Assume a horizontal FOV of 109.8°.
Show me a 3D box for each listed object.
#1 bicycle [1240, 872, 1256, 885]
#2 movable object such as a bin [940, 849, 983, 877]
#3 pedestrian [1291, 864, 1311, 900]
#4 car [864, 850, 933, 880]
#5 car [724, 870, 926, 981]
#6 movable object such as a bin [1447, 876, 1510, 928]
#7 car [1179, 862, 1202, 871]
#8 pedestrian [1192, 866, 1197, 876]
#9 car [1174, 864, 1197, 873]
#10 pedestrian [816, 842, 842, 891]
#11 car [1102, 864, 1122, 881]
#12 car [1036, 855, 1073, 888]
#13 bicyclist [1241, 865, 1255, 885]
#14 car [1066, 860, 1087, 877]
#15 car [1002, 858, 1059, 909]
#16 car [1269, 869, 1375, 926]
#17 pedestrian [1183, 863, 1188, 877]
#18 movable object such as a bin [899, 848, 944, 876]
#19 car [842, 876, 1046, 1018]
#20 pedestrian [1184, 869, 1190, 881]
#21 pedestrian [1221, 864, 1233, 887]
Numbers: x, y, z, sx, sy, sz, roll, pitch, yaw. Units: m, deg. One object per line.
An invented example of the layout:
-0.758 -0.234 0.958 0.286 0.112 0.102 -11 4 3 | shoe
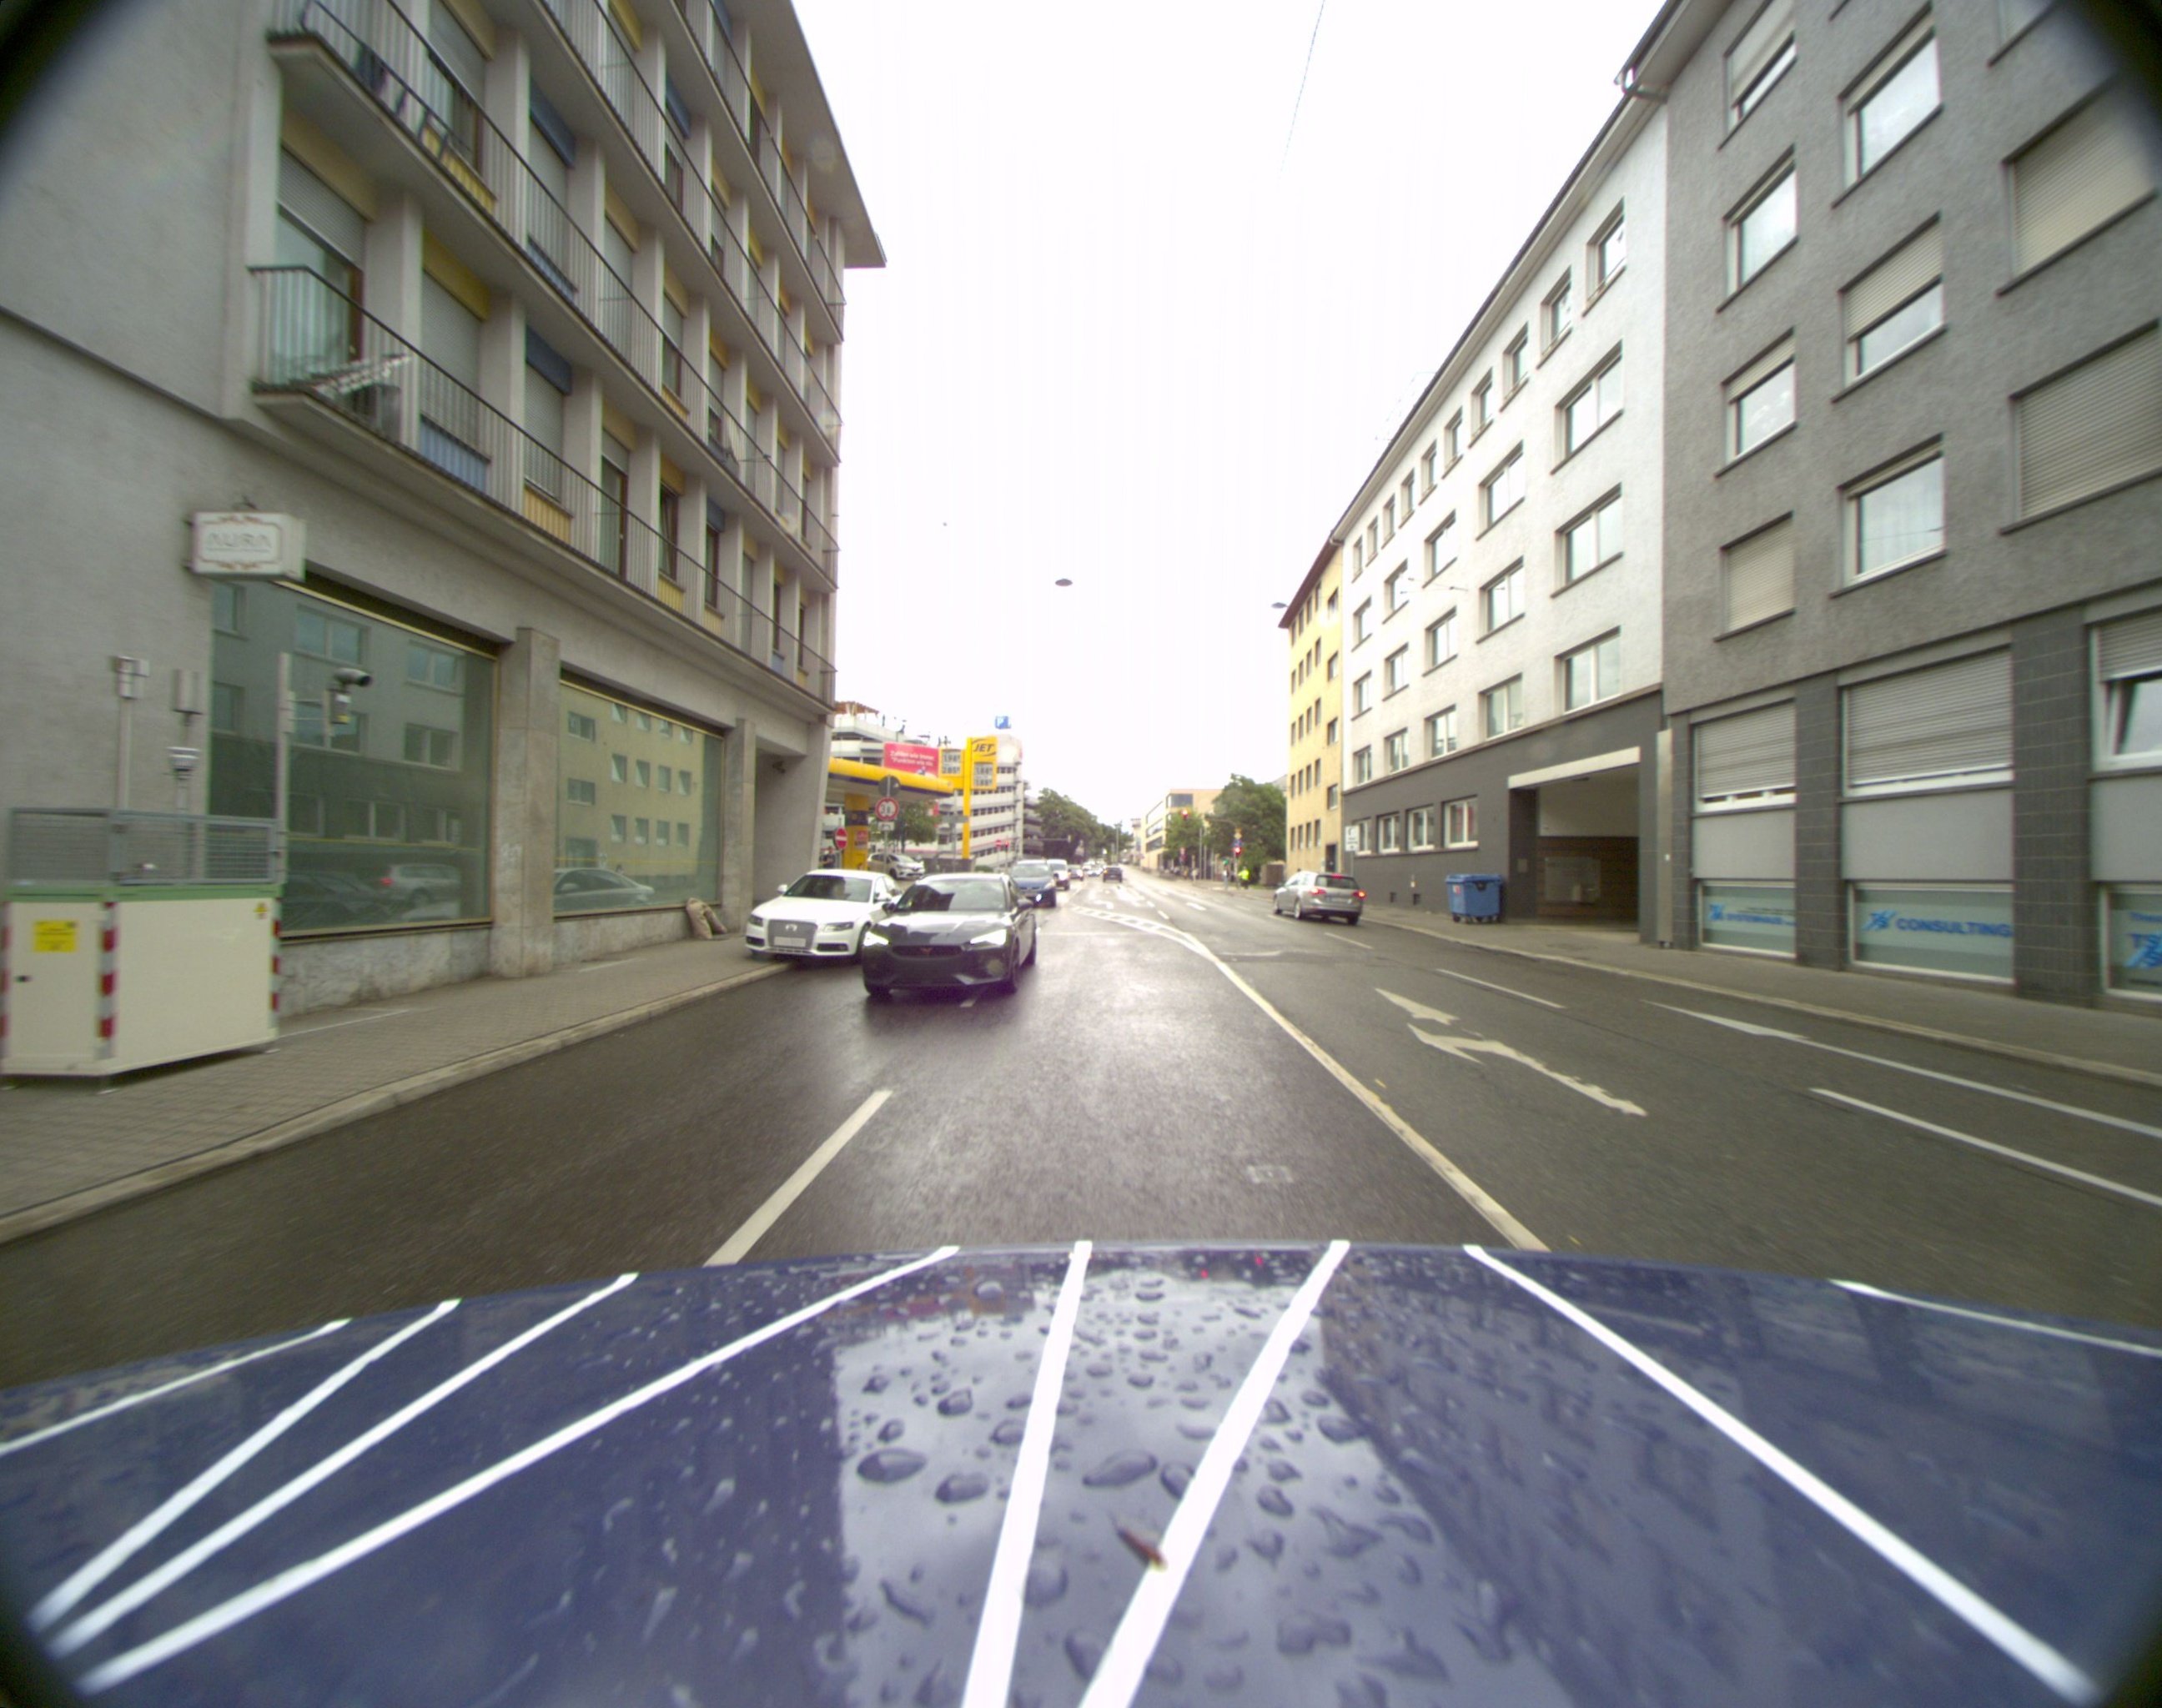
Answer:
12.152 1.797 55.240 0.887 0.902 1.867 -1 0 4 | bicycle
-7.032 0.542 44.869 2.160 1.565 1.773 1 0 3 | movable object such as a bin
10.426 1.300 36.036 0.719 1.679 0.811 -1 0 4 | pedestrian
-9.860 0.572 40.952 1.750 1.433 3.987 2 1 -44 | car
-4.198 1.091 13.388 1.898 1.394 4.608 5 0 0 | car
10.723 1.280 20.530 1.079 1.316 1.191 -1 0 2 | movable object such as a bin
19.181 2.232 133.033 3.995 1.575 2.001 -1 0 6 | car
14.901 2.211 99.837 0.622 1.368 0.475 -1 0 3 | pedestrian
18.728 2.557 135.721 3.995 1.575 2.001 -1 0 6 | car
-9.213 0.461 27.817 0.661 1.761 0.528 3 1 -40 | pedestrian
3.032 1.762 73.916 1.812 1.585 4.296 1 -1 3 | car
-1.514 1.006 44.684 1.804 1.817 3.951 -2 -1 3 | car
12.131 1.524 55.157 0.844 1.433 0.813 -1 0 4 | bicyclist
-0.456 1.446 75.767 1.804 1.561 3.951 -2 -1 3 | car
-1.728 0.996 27.158 1.846 1.646 4.000 0 0 -1 | car
7.108 1.232 22.889 1.831 1.408 4.296 4 -1 1 | car
13.692 2.129 99.841 0.595 1.761 0.692 -1 0 1 | pedestrian
-9.385 0.445 44.913 2.160 1.546 1.773 2 0 3 | movable object such as a bin
-1.543 1.041 10.252 1.738 1.380 4.583 -1 0 2 | car
14.172 2.787 101.668 0.595 1.507 0.692 -1 0 1 | pedestrian
10.885 1.580 56.726 0.719 1.679 0.811 -1 0 4 | pedestrian
